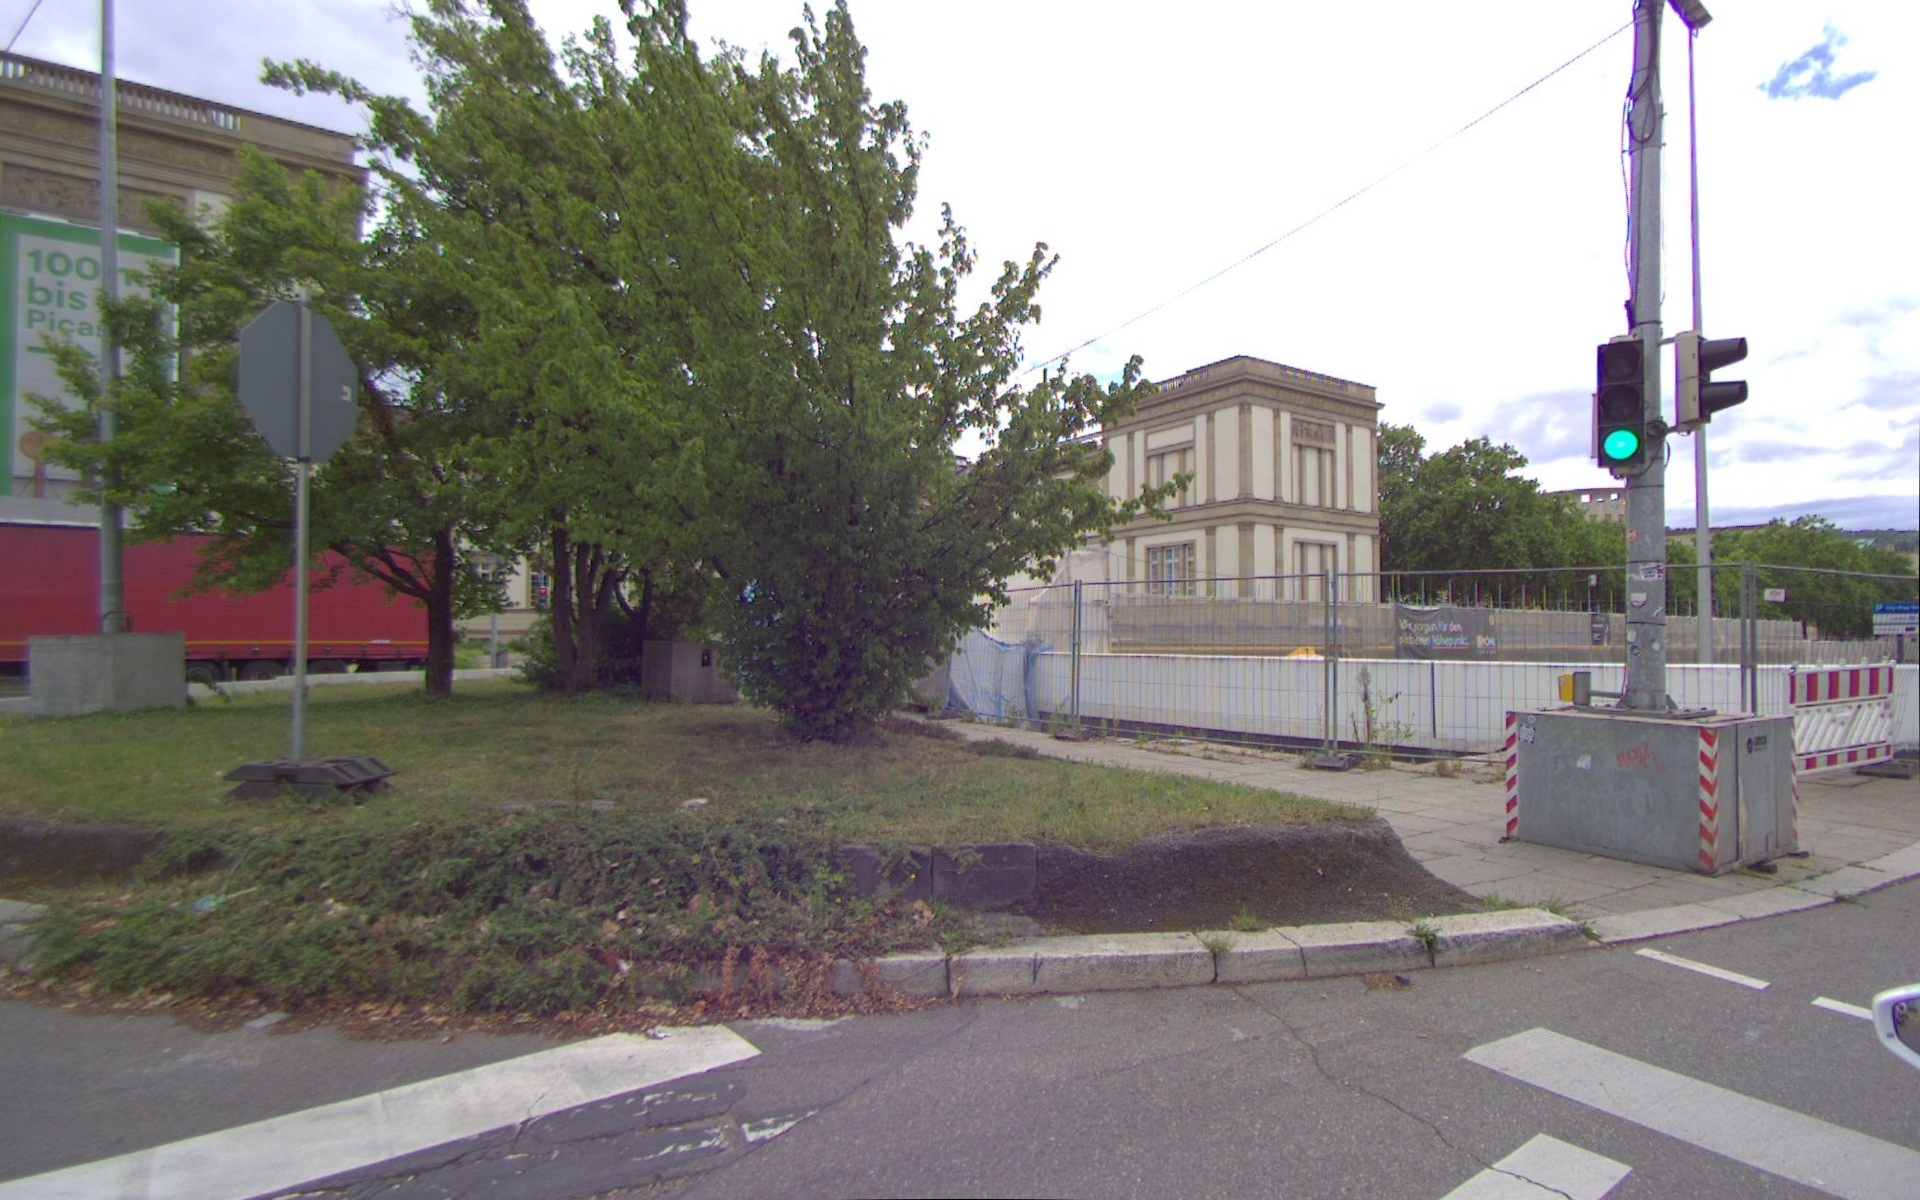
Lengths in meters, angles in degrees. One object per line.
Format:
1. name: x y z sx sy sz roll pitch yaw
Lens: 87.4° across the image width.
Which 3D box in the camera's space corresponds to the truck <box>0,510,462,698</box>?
1. truck: -21.163 0.187 23.898 16.445 4.136 2.900 2 -4 -35
